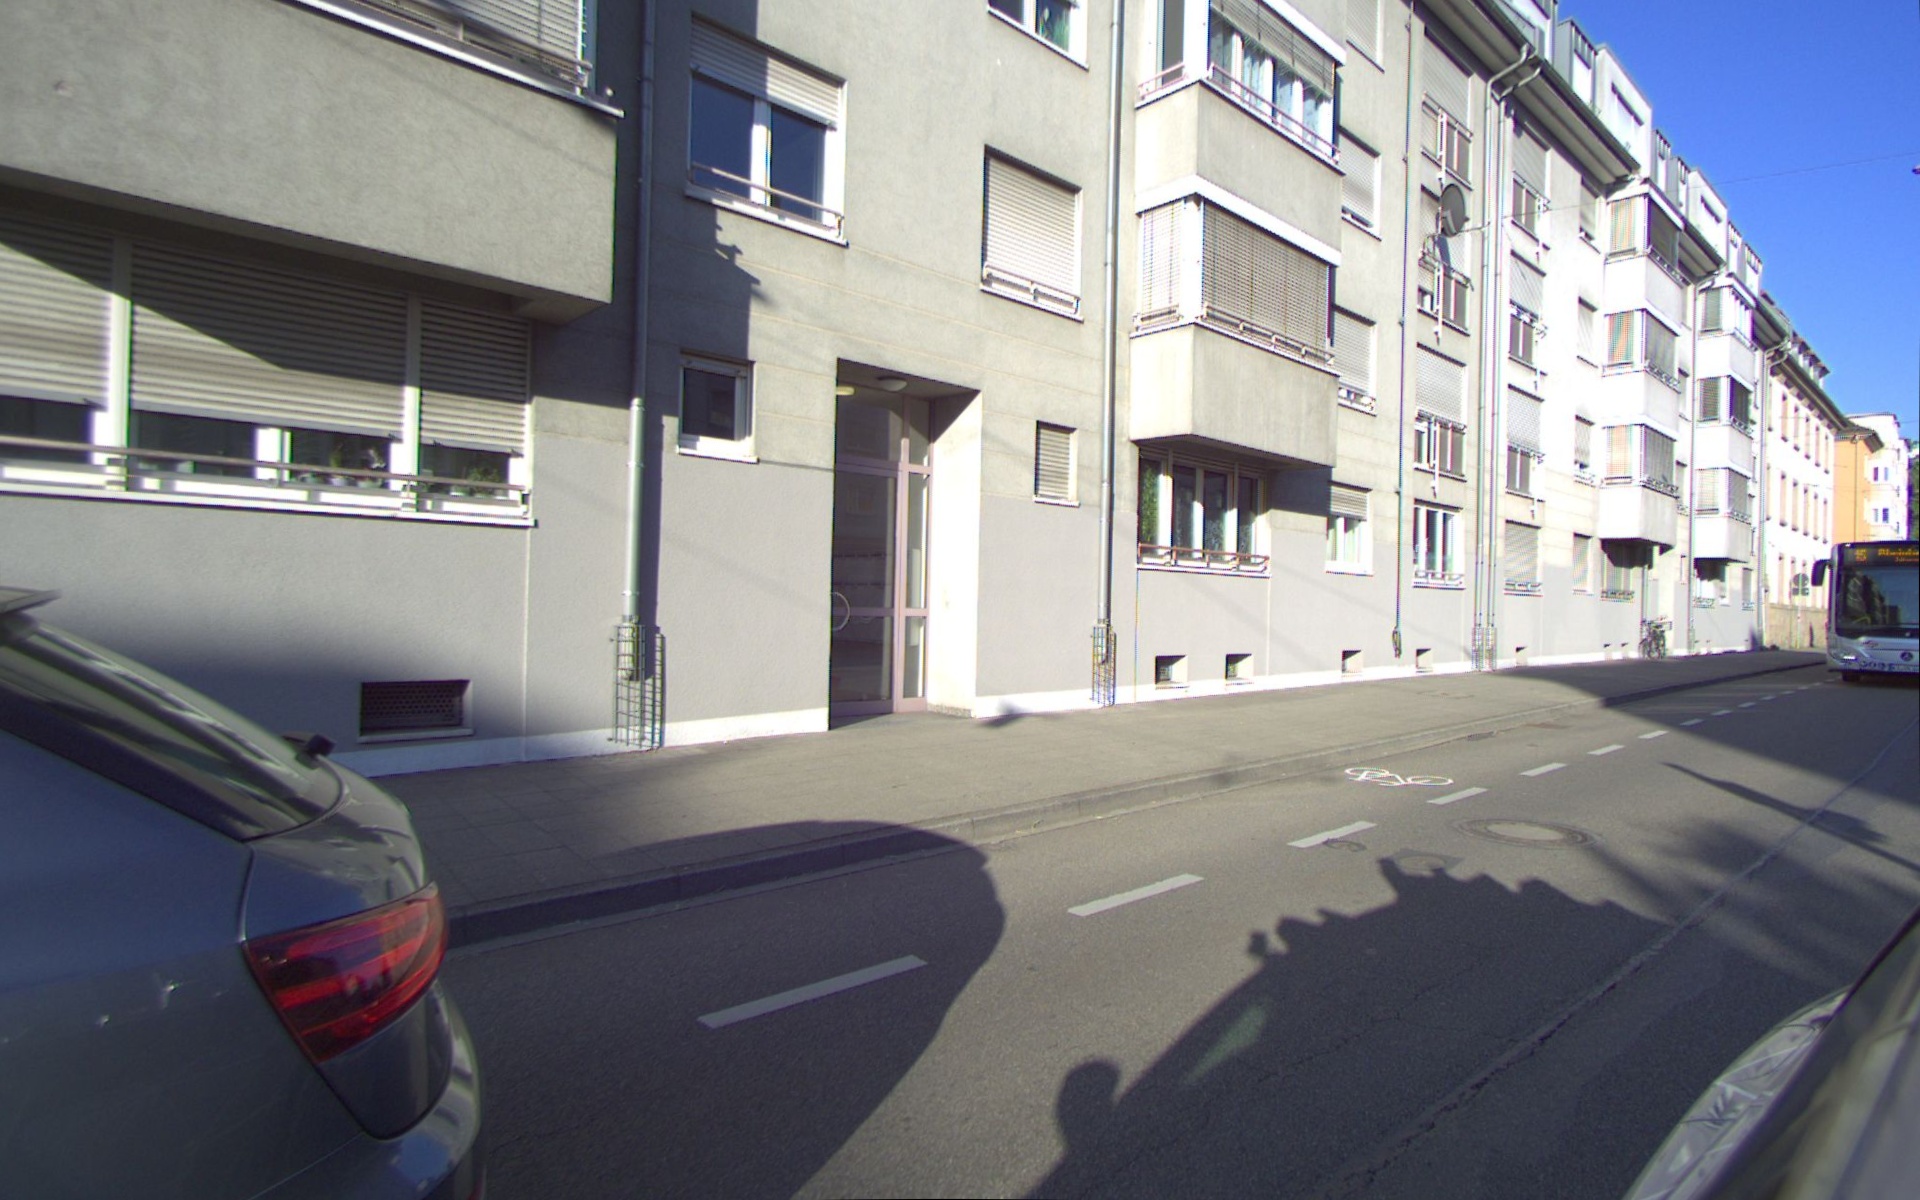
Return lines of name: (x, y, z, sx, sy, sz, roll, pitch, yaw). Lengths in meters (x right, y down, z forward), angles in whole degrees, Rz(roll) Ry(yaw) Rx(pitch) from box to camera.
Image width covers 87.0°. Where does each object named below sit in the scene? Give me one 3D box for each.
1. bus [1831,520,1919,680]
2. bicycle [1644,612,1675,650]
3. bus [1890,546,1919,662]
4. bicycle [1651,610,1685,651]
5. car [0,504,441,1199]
bus: (22.511, 0.060, 23.146, 10.419, 3.116, 2.728, 1, 0, -43)
bicycle: (19.038, 0.837, 27.538, 1.701, 0.983, 0.279, 1, 3, -43)
bus: (30.197, 0.190, 30.204, 10.419, 3.116, 2.709, 1, 0, -43)
bicycle: (18.827, 0.793, 26.902, 1.701, 1.044, 0.360, 1, 3, -43)
car: (-2.744, 0.663, 0.616, 3.997, 1.607, 1.769, 1, 0, -41)
